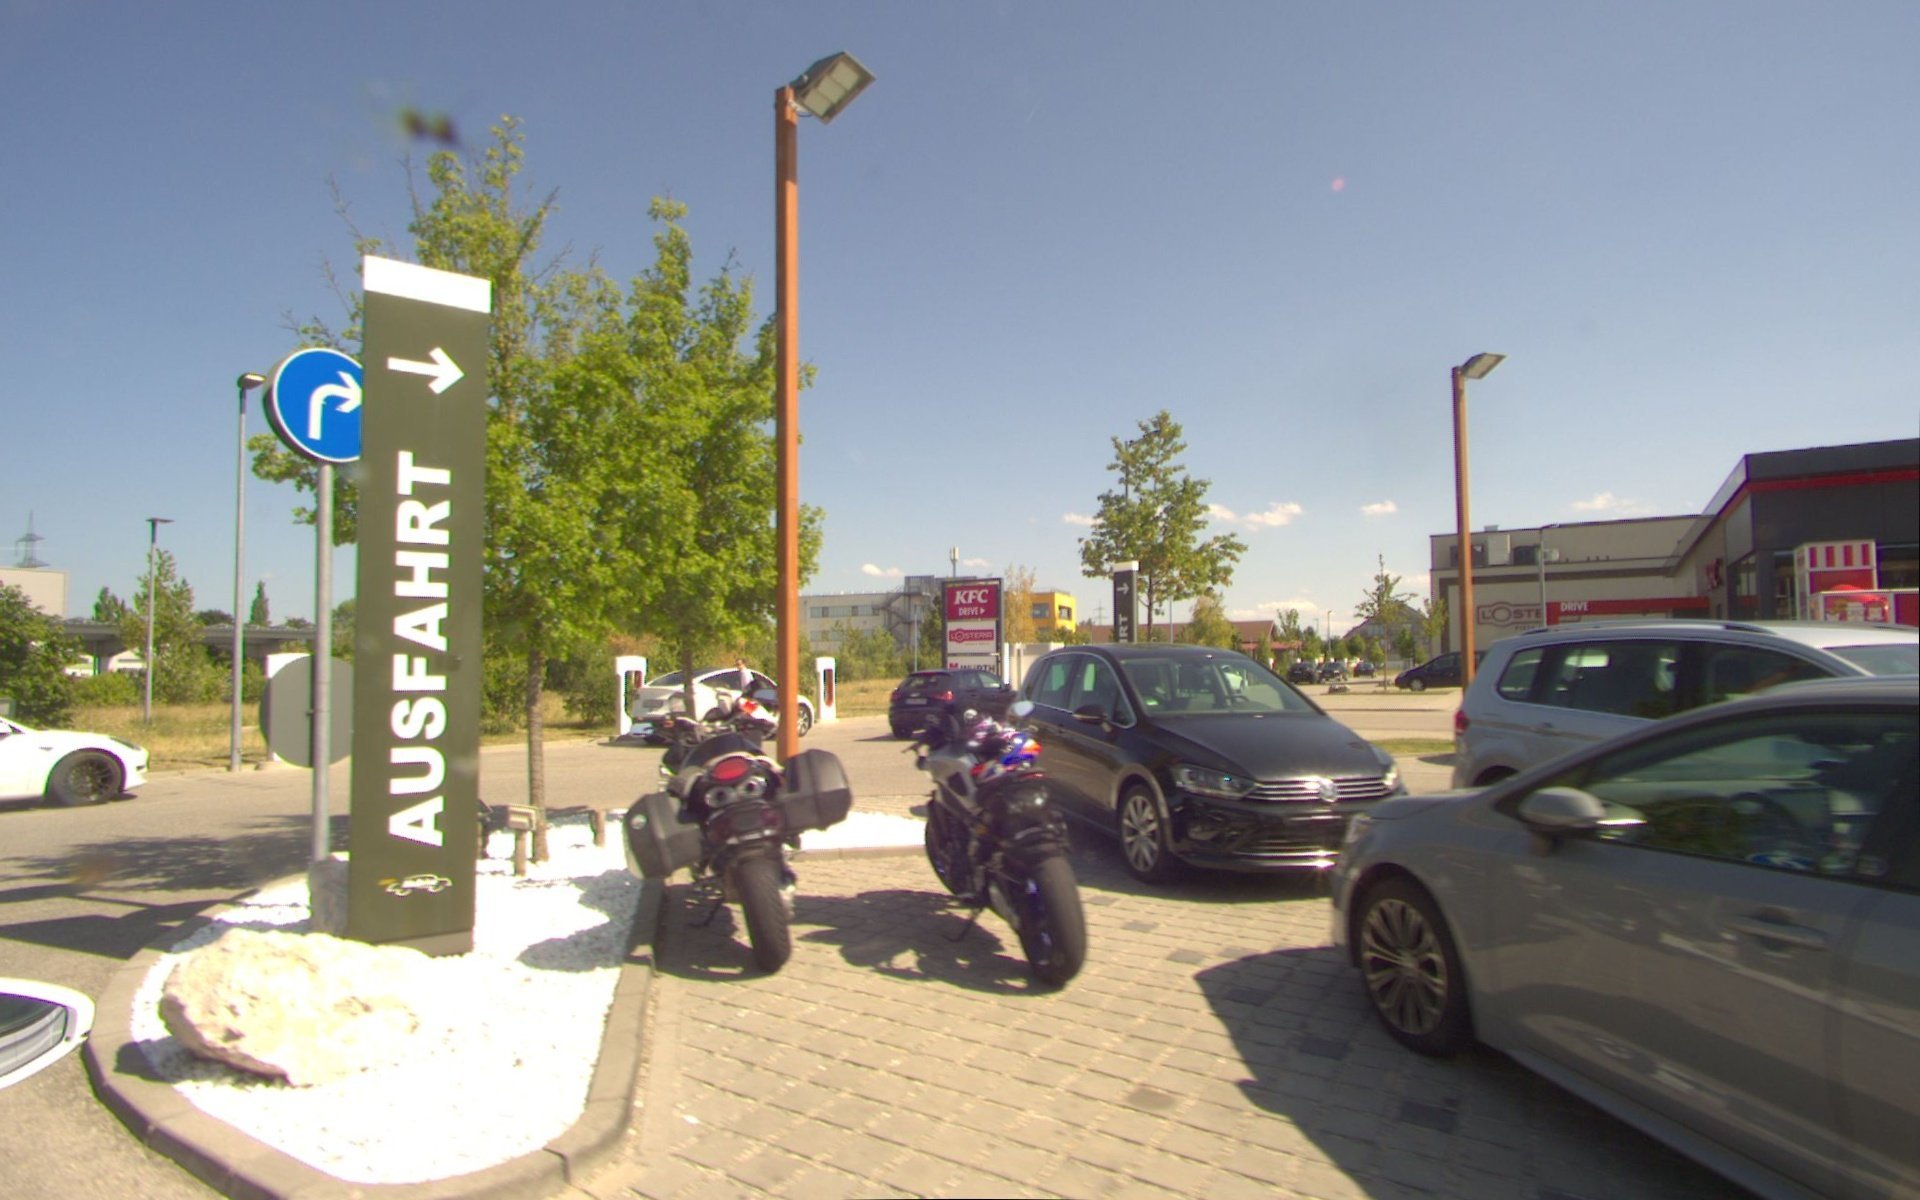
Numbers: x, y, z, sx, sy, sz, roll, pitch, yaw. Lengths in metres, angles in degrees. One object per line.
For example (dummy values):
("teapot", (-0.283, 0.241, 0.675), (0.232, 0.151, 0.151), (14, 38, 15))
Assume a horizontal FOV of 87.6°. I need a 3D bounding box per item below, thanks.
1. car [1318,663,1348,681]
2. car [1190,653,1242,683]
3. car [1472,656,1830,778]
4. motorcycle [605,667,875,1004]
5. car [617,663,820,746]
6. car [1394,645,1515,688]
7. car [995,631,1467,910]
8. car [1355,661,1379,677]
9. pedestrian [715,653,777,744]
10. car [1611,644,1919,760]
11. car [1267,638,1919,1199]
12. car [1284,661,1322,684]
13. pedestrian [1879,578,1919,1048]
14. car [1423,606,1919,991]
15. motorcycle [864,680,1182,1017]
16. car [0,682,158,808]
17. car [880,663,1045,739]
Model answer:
("car", (31.128, 6.005, 83.530), (1.722, 1.404, 3.985), (-2, -4, 29))
("car", (14.199, 3.744, 55.375), (1.921, 1.587, 3.987), (-2, -4, 28))
("car", (9.297, 1.501, 13.549), (4.113, 1.443, 1.842), (1, -4, -18))
("motorcycle", (-1.200, 1.016, 5.180), (1.052, 1.266, 2.249), (2, -2, -17))
("car", (-5.220, 2.224, 22.248), (1.842, 1.619, 4.472), (-2, -4, 30))
("car", (20.216, 2.733, 41.005), (4.318, 1.706, 1.636), (-2, -4, 29))
("car", (1.687, 1.071, 7.863), (1.861, 1.556, 4.190), (0, -3, -12))
("car", (39.897, 6.756, 98.149), (1.722, 1.587, 3.985), (-2, -4, 29))
("pedestrian", (-4.474, 2.035, 20.971), (0.726, 1.822, 1.031), (-1, -3, 32))
("car", (12.854, 1.548, 15.969), (1.725, 1.595, 4.087), (0, -4, -12))
("car", (2.746, 0.831, 2.523), (1.801, 1.465, 4.661), (0, -2, -11))
("car", (25.203, 5.309, 73.517), (1.922, 1.587, 3.985), (-2, -4, 29))
("pedestrian", (3.859, 0.777, 3.558), (0.599, 1.734, 0.564), (0, -3, -6))
("car", (4.730, 0.929, 5.653), (1.716, 1.660, 4.066), (0, -3, -12))
("motorcycle", (0.185, 1.058, 5.061), (0.807, 1.246, 2.137), (1, -3, -20))
("car", (-12.070, 1.664, 11.244), (1.795, 1.394, 4.432), (-2, -4, 29))
("car", (0.168, 2.127, 21.730), (1.674, 1.458, 4.197), (-3, -4, 31))
